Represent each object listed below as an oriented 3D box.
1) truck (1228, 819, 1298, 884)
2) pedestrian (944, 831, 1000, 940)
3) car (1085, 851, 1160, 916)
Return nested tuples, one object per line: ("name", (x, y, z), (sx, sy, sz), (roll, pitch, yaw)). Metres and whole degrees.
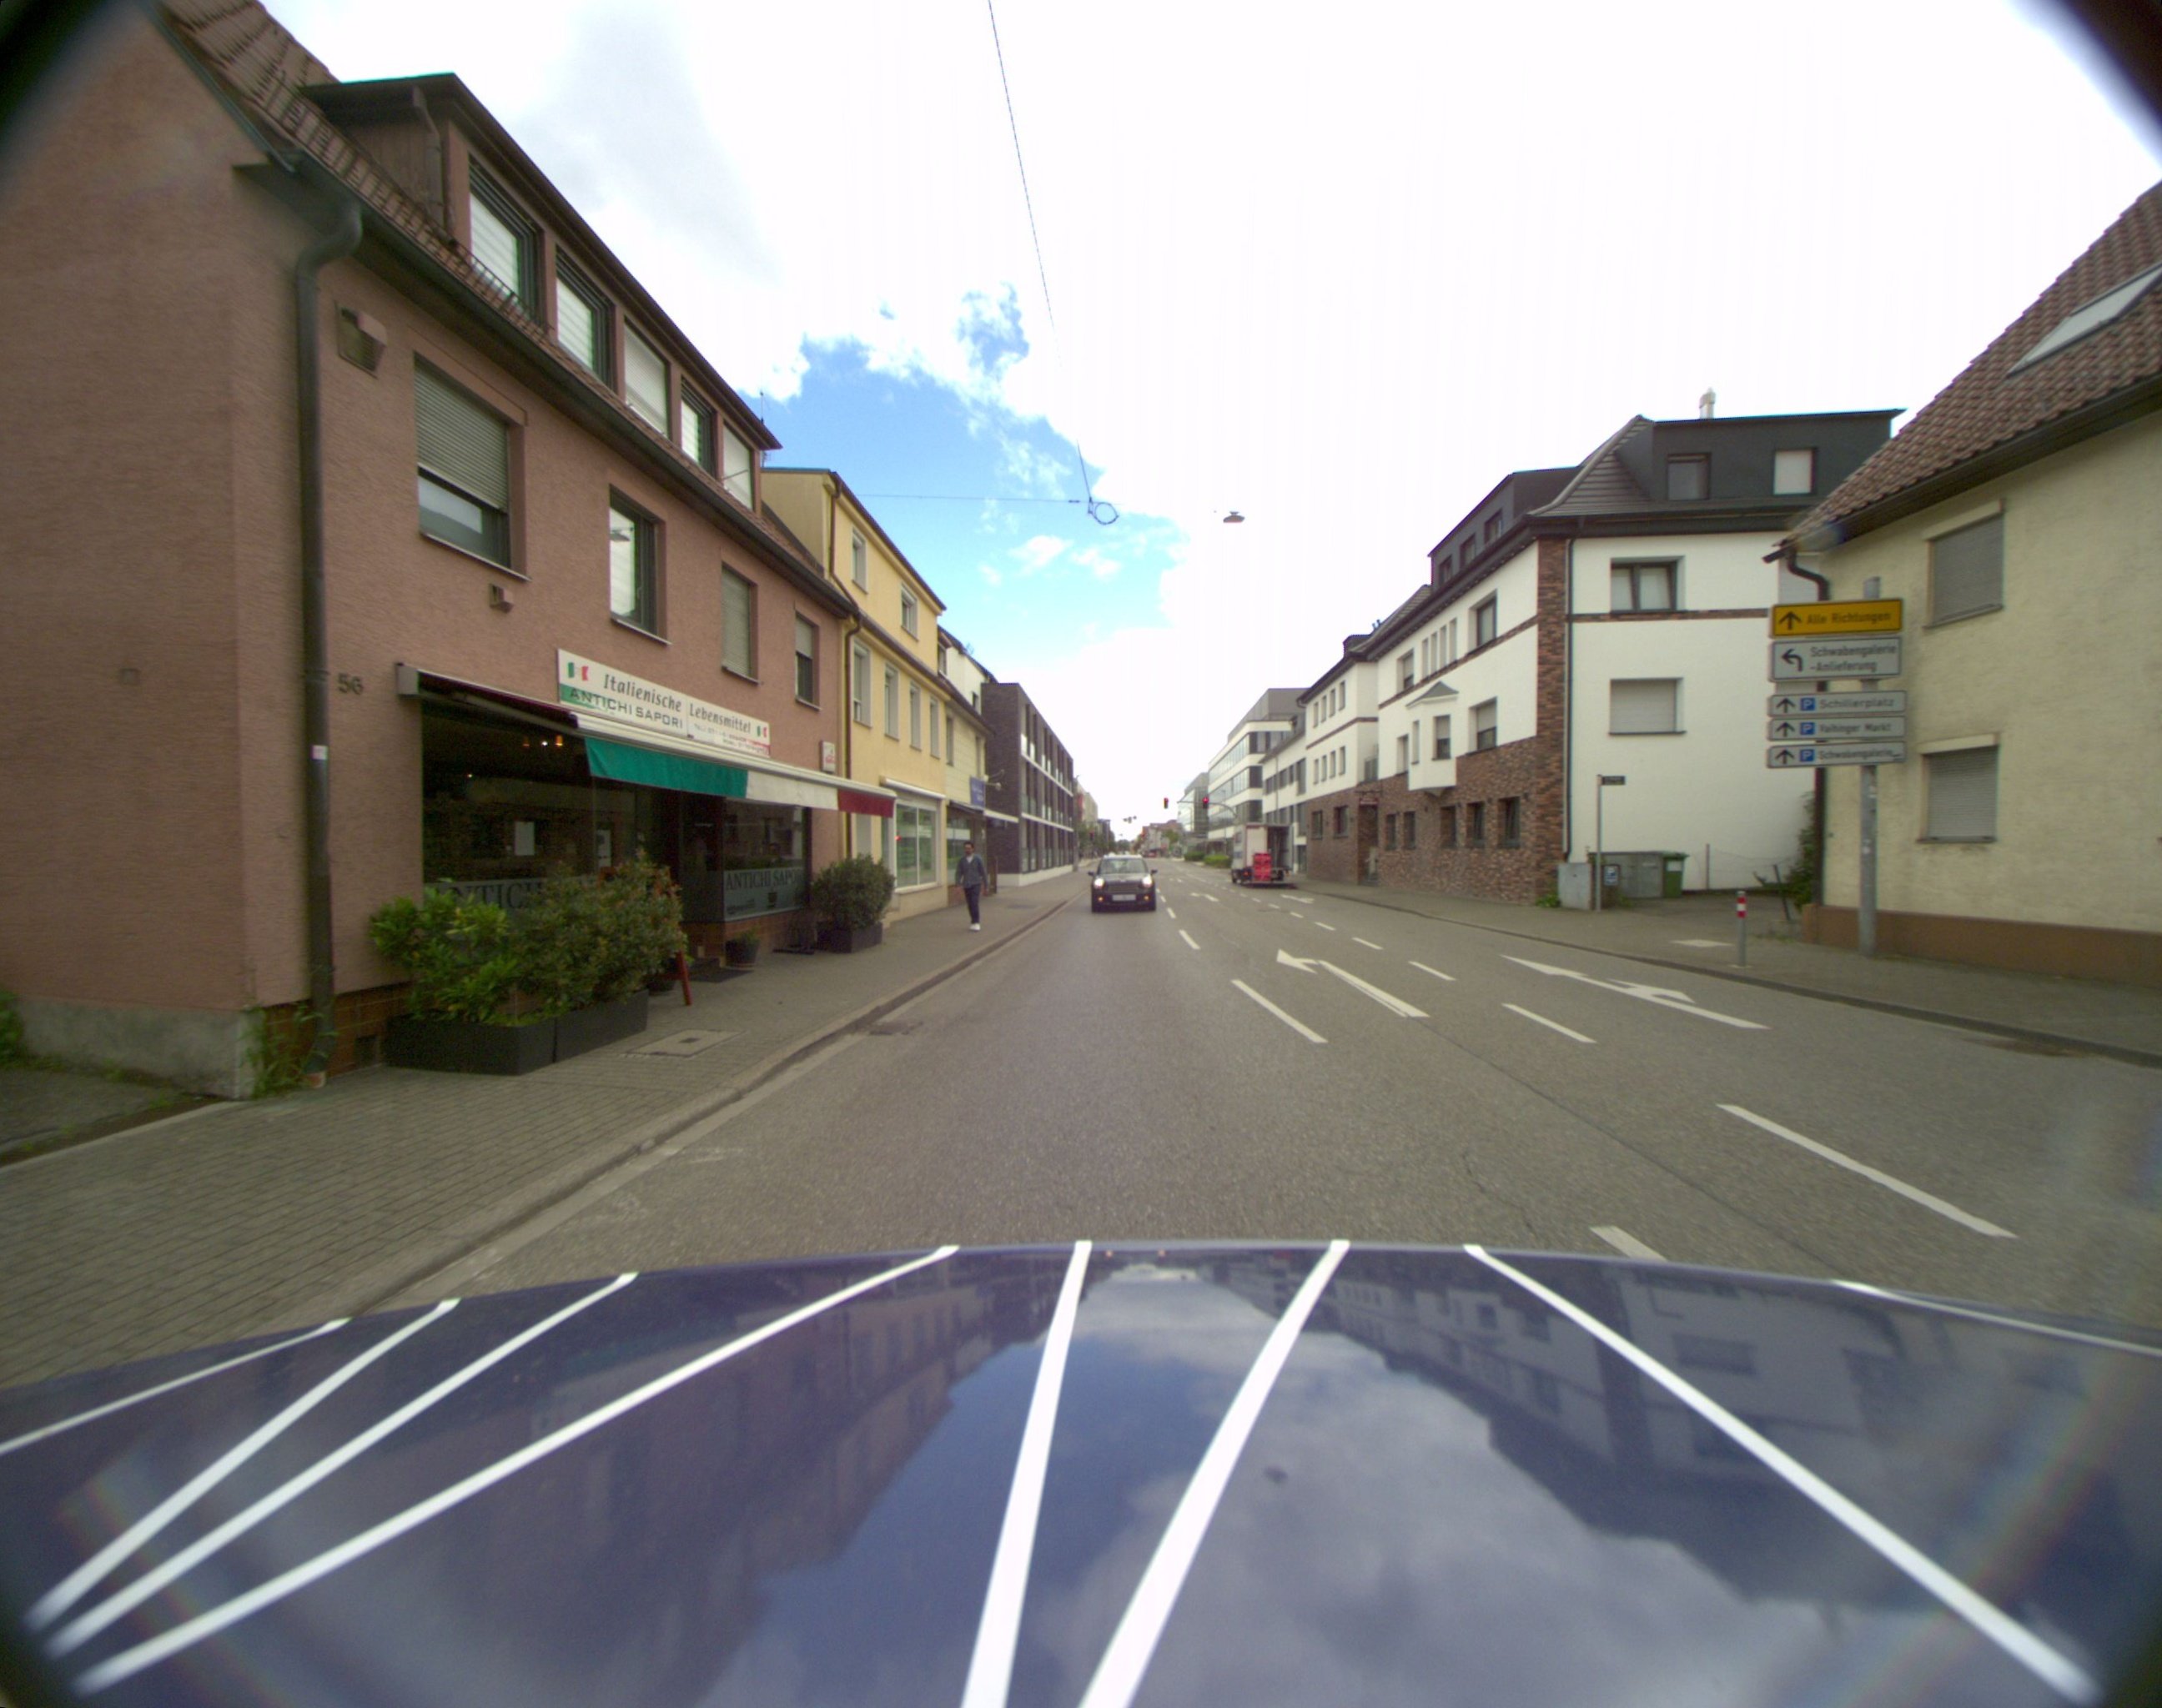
("truck", (9.001, -0.135, 38.153), (2.467, 2.954, 5.966), (-2, 1, 5))
("pedestrian", (-2.147, 0.592, 15.086), (0.826, 2.063, 1.011), (2, 1, 3))
("car", (1.238, 0.759, 21.800), (1.847, 1.571, 4.430), (-3, 0, 4))
